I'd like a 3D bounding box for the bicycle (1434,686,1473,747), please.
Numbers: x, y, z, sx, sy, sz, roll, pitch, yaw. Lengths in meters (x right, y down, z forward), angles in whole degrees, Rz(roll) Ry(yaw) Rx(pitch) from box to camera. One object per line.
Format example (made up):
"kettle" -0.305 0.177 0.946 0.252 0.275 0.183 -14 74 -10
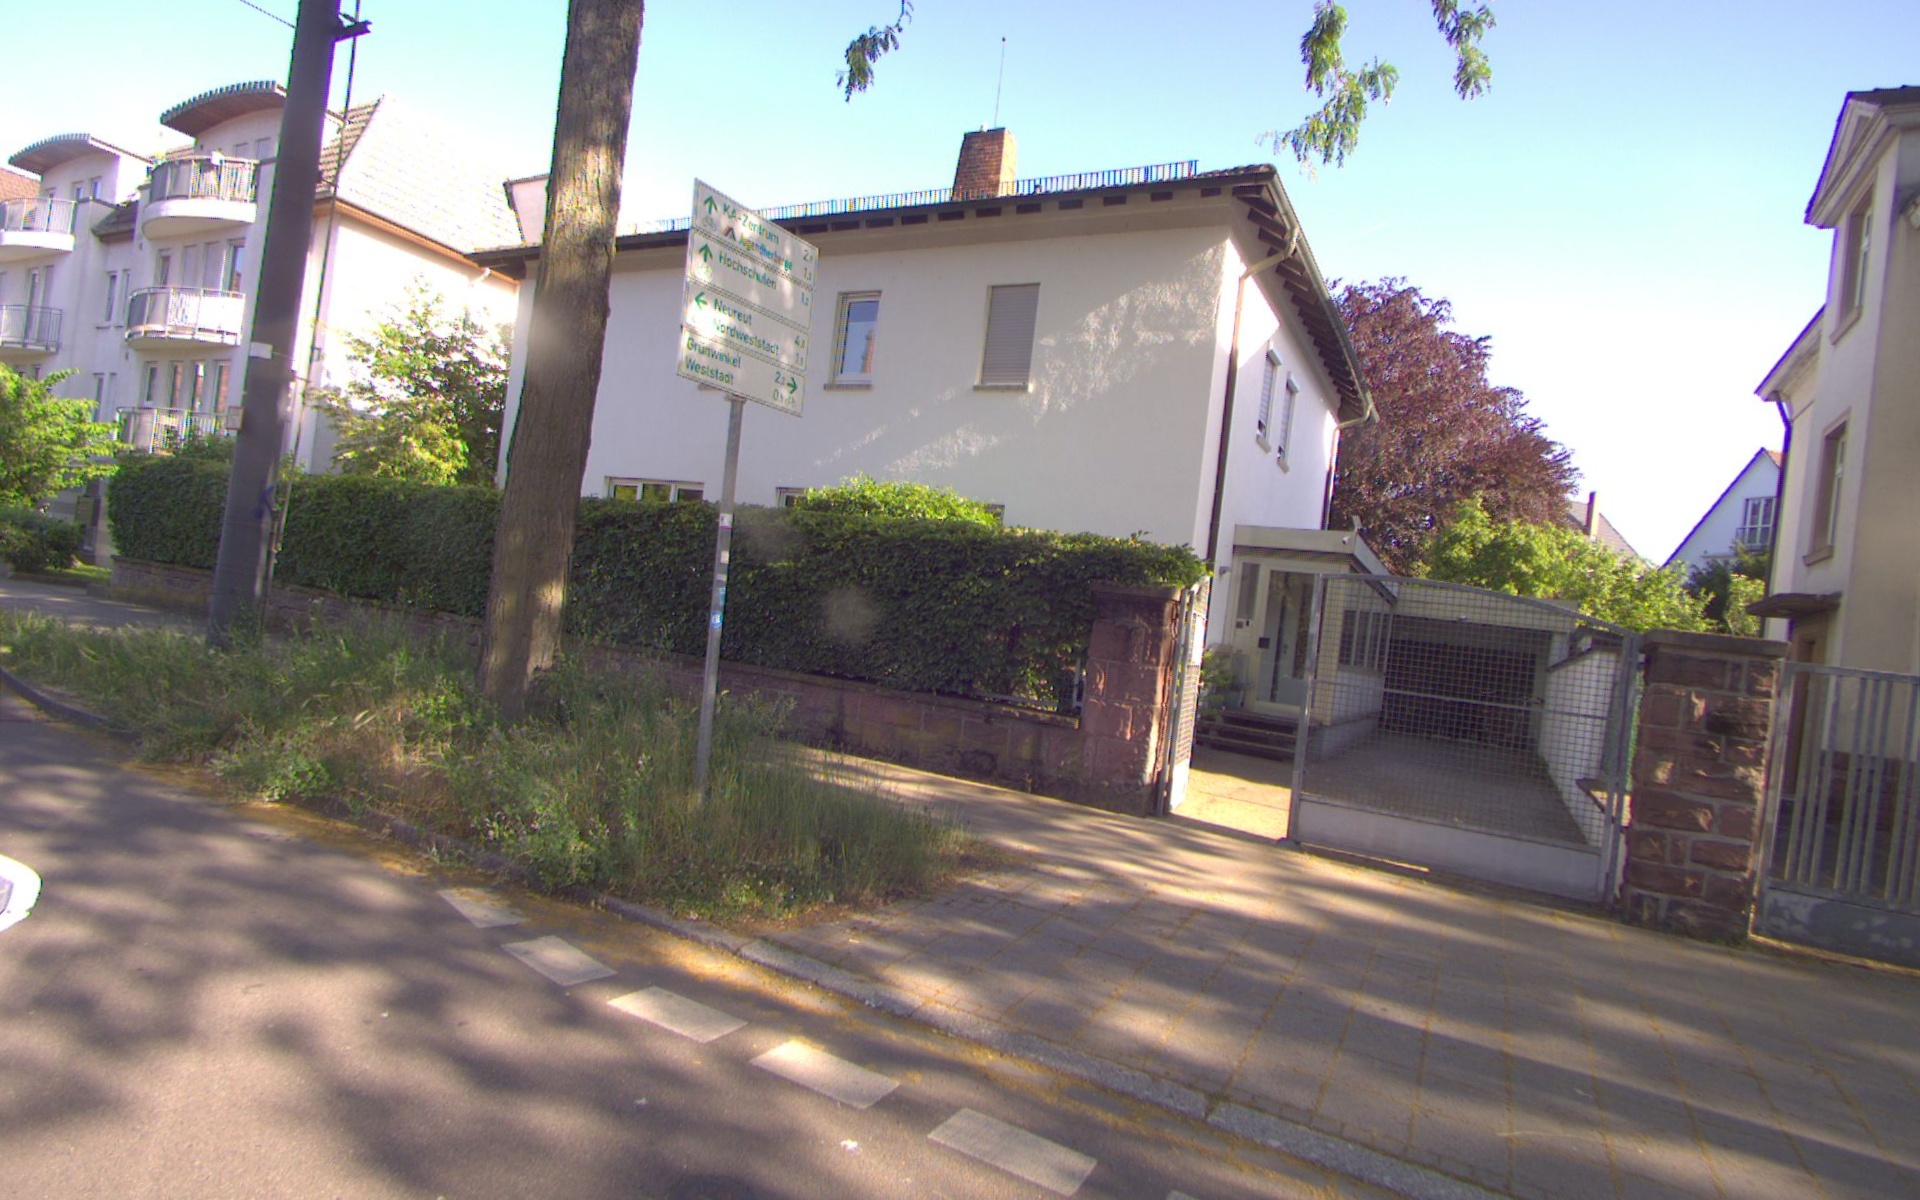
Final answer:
"bicycle" 10.080 2.362 20.513 0.512 1.135 1.465 6 -2 30

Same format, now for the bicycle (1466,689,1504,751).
"bicycle" 10.557 2.412 20.216 0.512 1.135 1.465 6 -2 30

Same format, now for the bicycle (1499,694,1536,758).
"bicycle" 11.003 2.477 19.846 0.512 1.135 1.465 6 -2 30

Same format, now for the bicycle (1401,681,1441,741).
"bicycle" 9.569 2.310 20.877 0.512 1.135 1.465 6 -2 30
